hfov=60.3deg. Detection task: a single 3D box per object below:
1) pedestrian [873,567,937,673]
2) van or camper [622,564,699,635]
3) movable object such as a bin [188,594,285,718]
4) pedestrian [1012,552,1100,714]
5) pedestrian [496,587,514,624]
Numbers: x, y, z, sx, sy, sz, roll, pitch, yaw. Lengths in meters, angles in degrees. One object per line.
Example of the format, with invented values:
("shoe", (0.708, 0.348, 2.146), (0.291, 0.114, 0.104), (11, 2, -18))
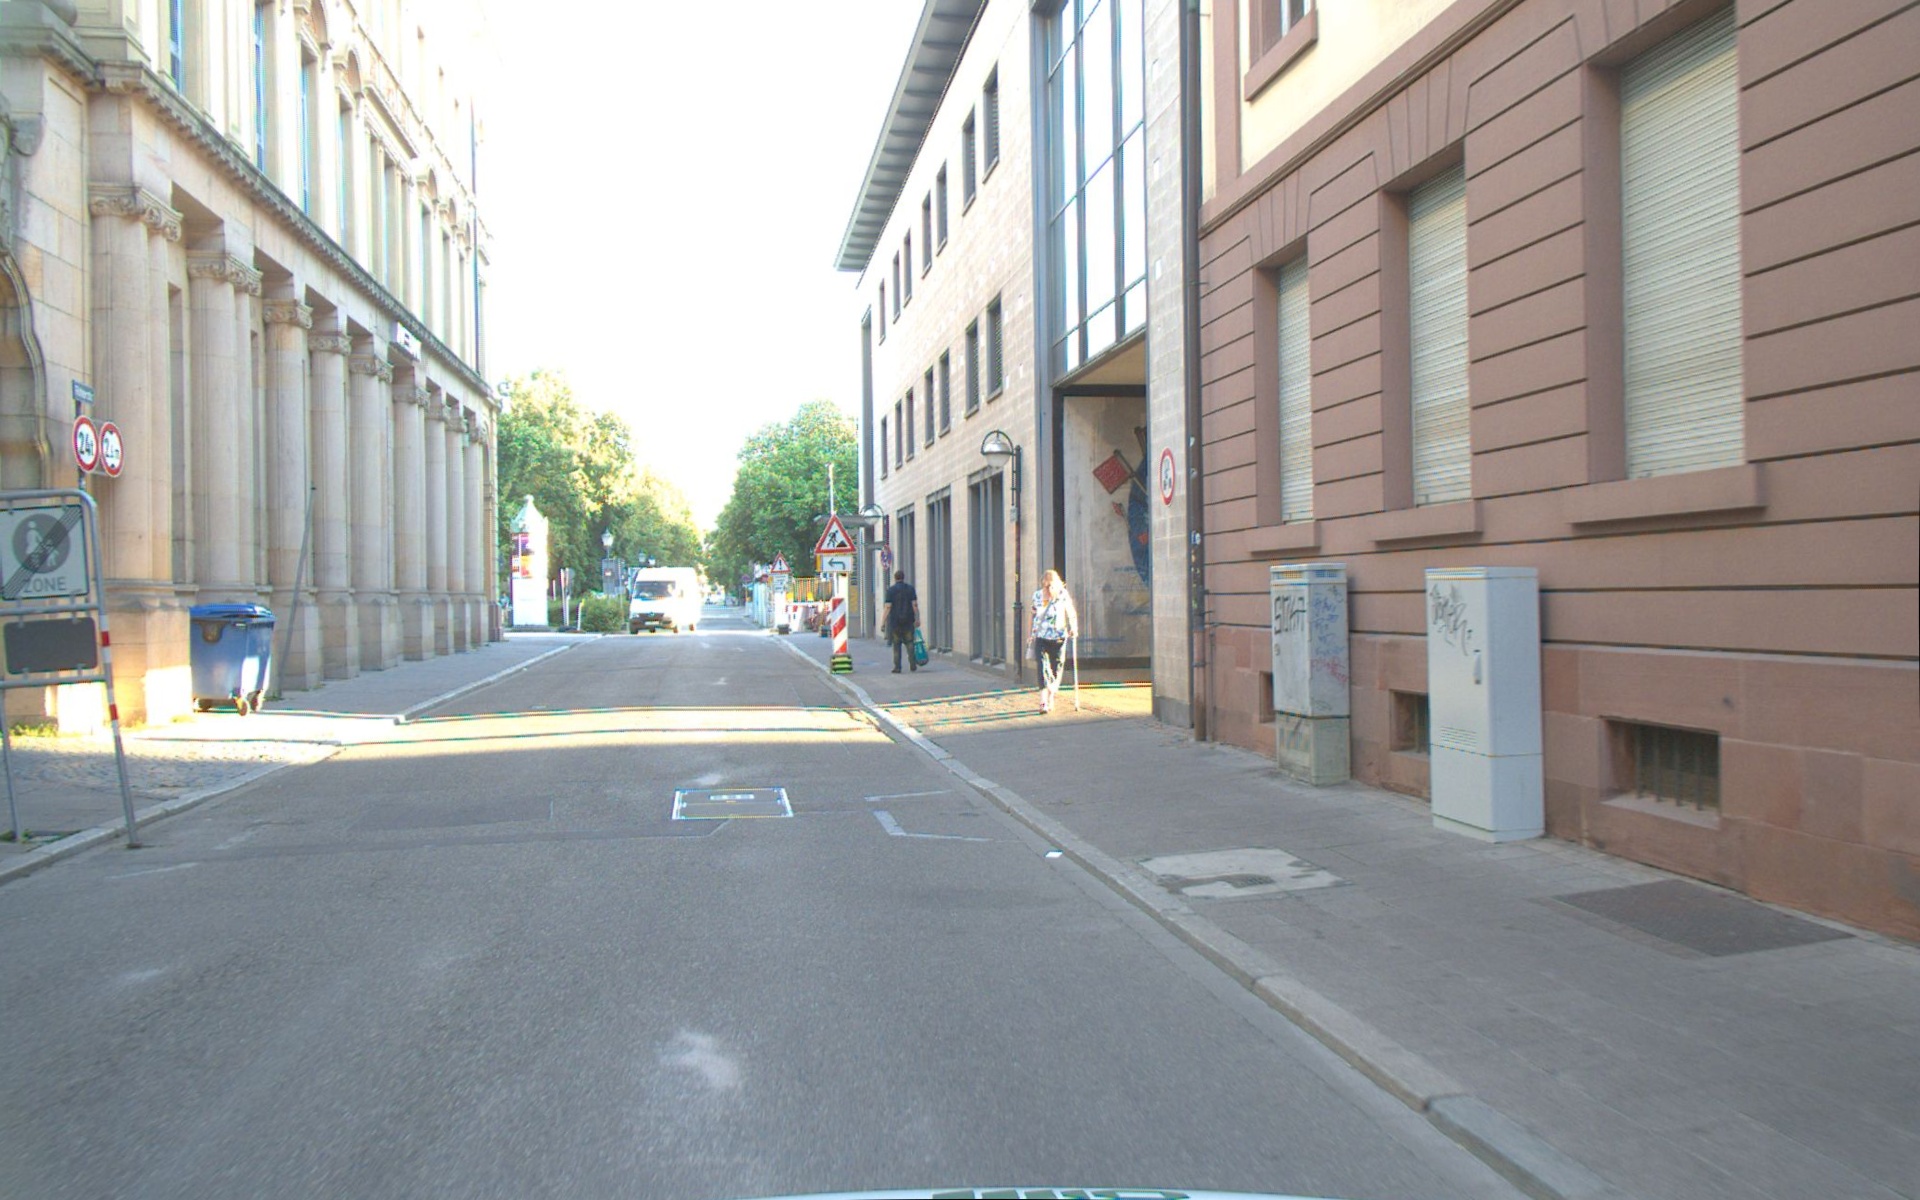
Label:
("pedestrian", (-0.991, 0.363, 29.630), (0.982, 1.835, 0.880), (-2, -1, -10))
("van or camper", (-11.713, -0.033, 65.045), (2.175, 2.630, 6.368), (-1, 0, -3))
("movable object such as a bin", (-9.231, 0.692, 21.150), (0.813, 1.529, 1.289), (0, 0, -8))
("pedestrian", (1.126, 0.382, 19.613), (0.829, 1.834, 0.896), (-3, 0, -4))
("pedestrian", (-22.899, 0.260, 83.266), (0.838, 1.839, 0.659), (0, 0, -22))
